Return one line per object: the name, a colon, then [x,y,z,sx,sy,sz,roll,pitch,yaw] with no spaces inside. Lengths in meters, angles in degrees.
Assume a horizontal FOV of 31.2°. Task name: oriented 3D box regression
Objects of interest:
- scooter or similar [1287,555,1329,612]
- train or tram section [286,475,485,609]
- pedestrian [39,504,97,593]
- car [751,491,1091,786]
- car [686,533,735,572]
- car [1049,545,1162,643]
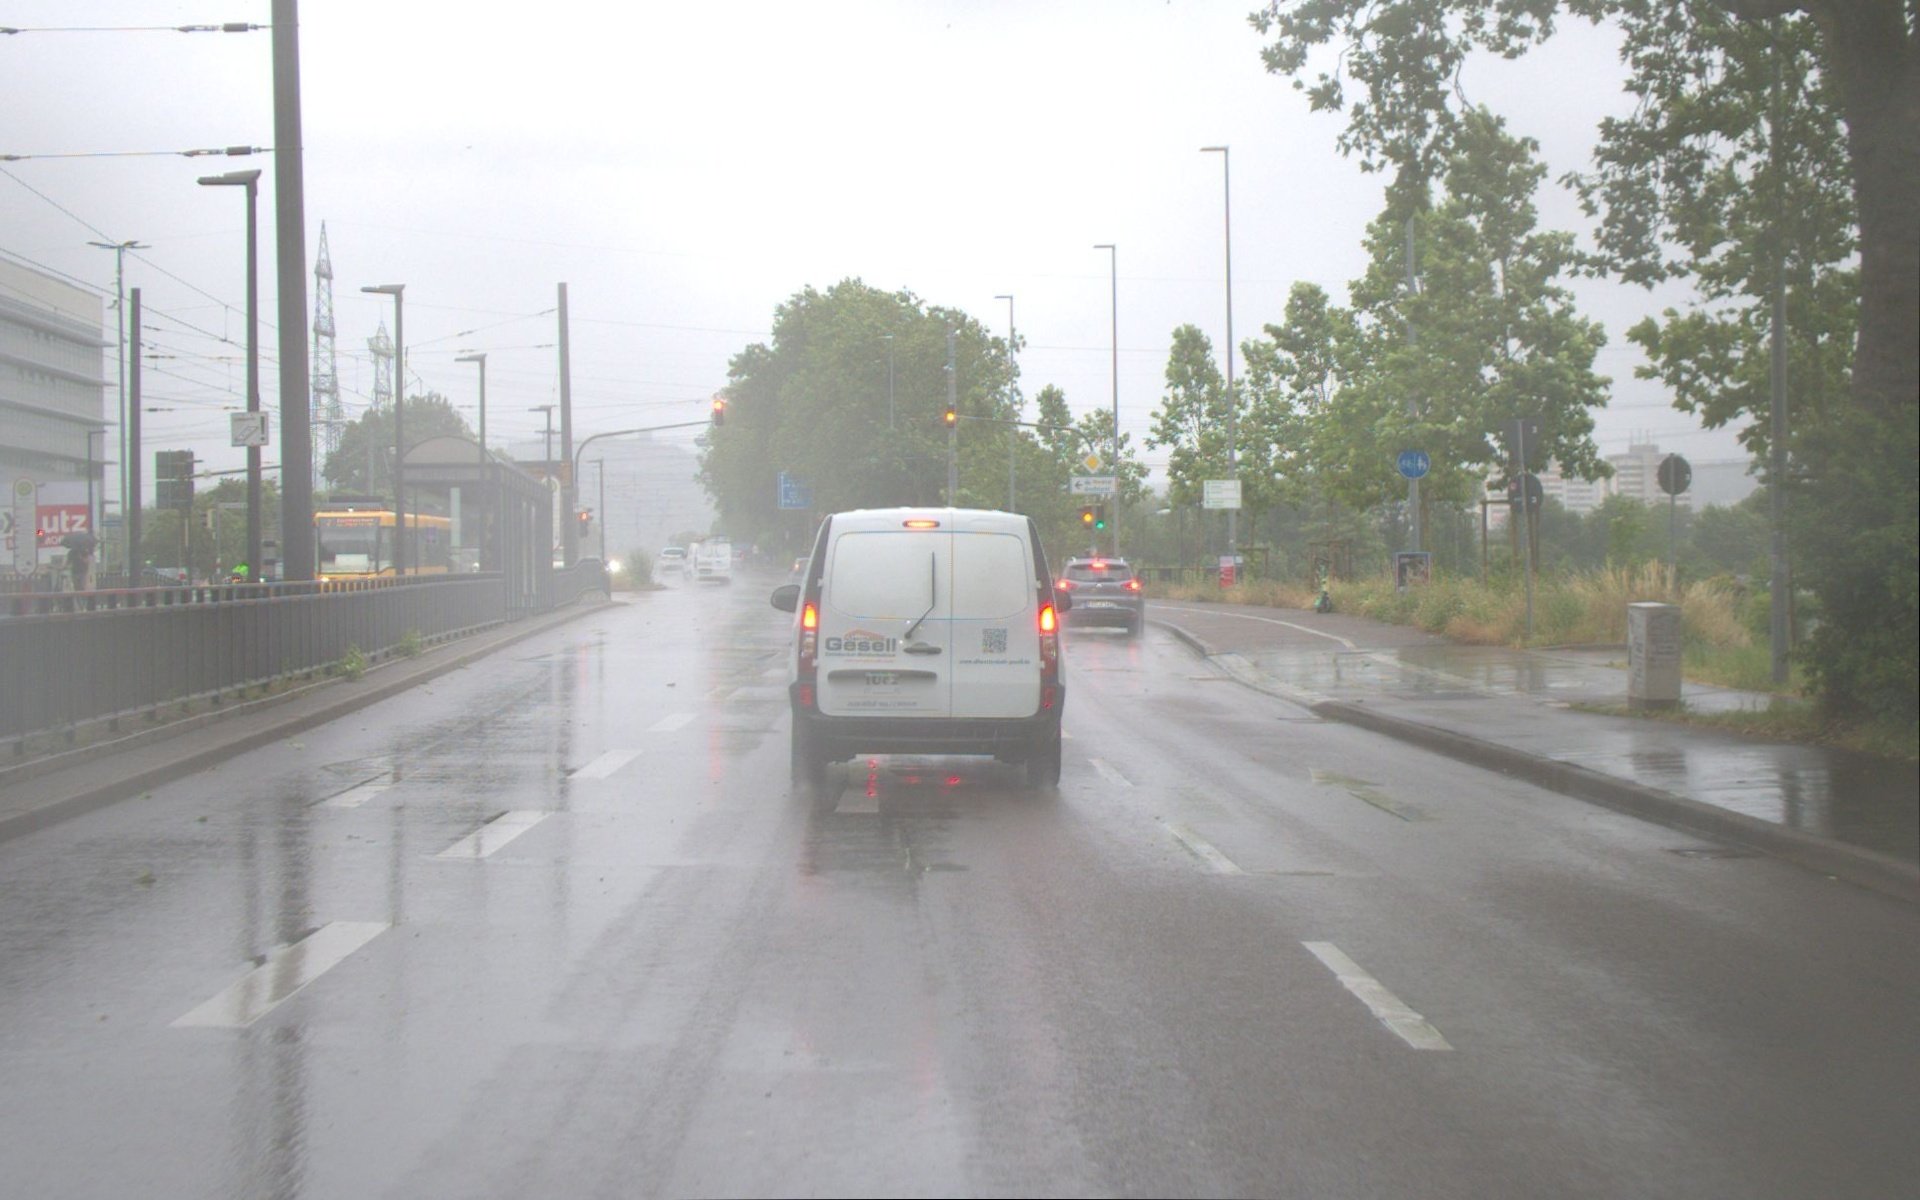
scooter or similar: [7.406,-0.360,73.208,0.642,1.191,1.563,-1,1,-4]
train or tram section: [-19.436,-1.923,118.677,3.770,4.023,27.096,1,1,-3]
pedestrian: [-20.642,-1.190,79.562,1.088,2.007,1.096,1,0,-4]
car: [-0.364,0.216,23.251,2.024,1.769,4.275,1,1,-4]
car: [-11.582,-2.197,159.426,1.993,1.744,4.001,1,1,-8]
car: [2.723,-0.129,65.181,1.993,1.744,4.000,1,1,1]
